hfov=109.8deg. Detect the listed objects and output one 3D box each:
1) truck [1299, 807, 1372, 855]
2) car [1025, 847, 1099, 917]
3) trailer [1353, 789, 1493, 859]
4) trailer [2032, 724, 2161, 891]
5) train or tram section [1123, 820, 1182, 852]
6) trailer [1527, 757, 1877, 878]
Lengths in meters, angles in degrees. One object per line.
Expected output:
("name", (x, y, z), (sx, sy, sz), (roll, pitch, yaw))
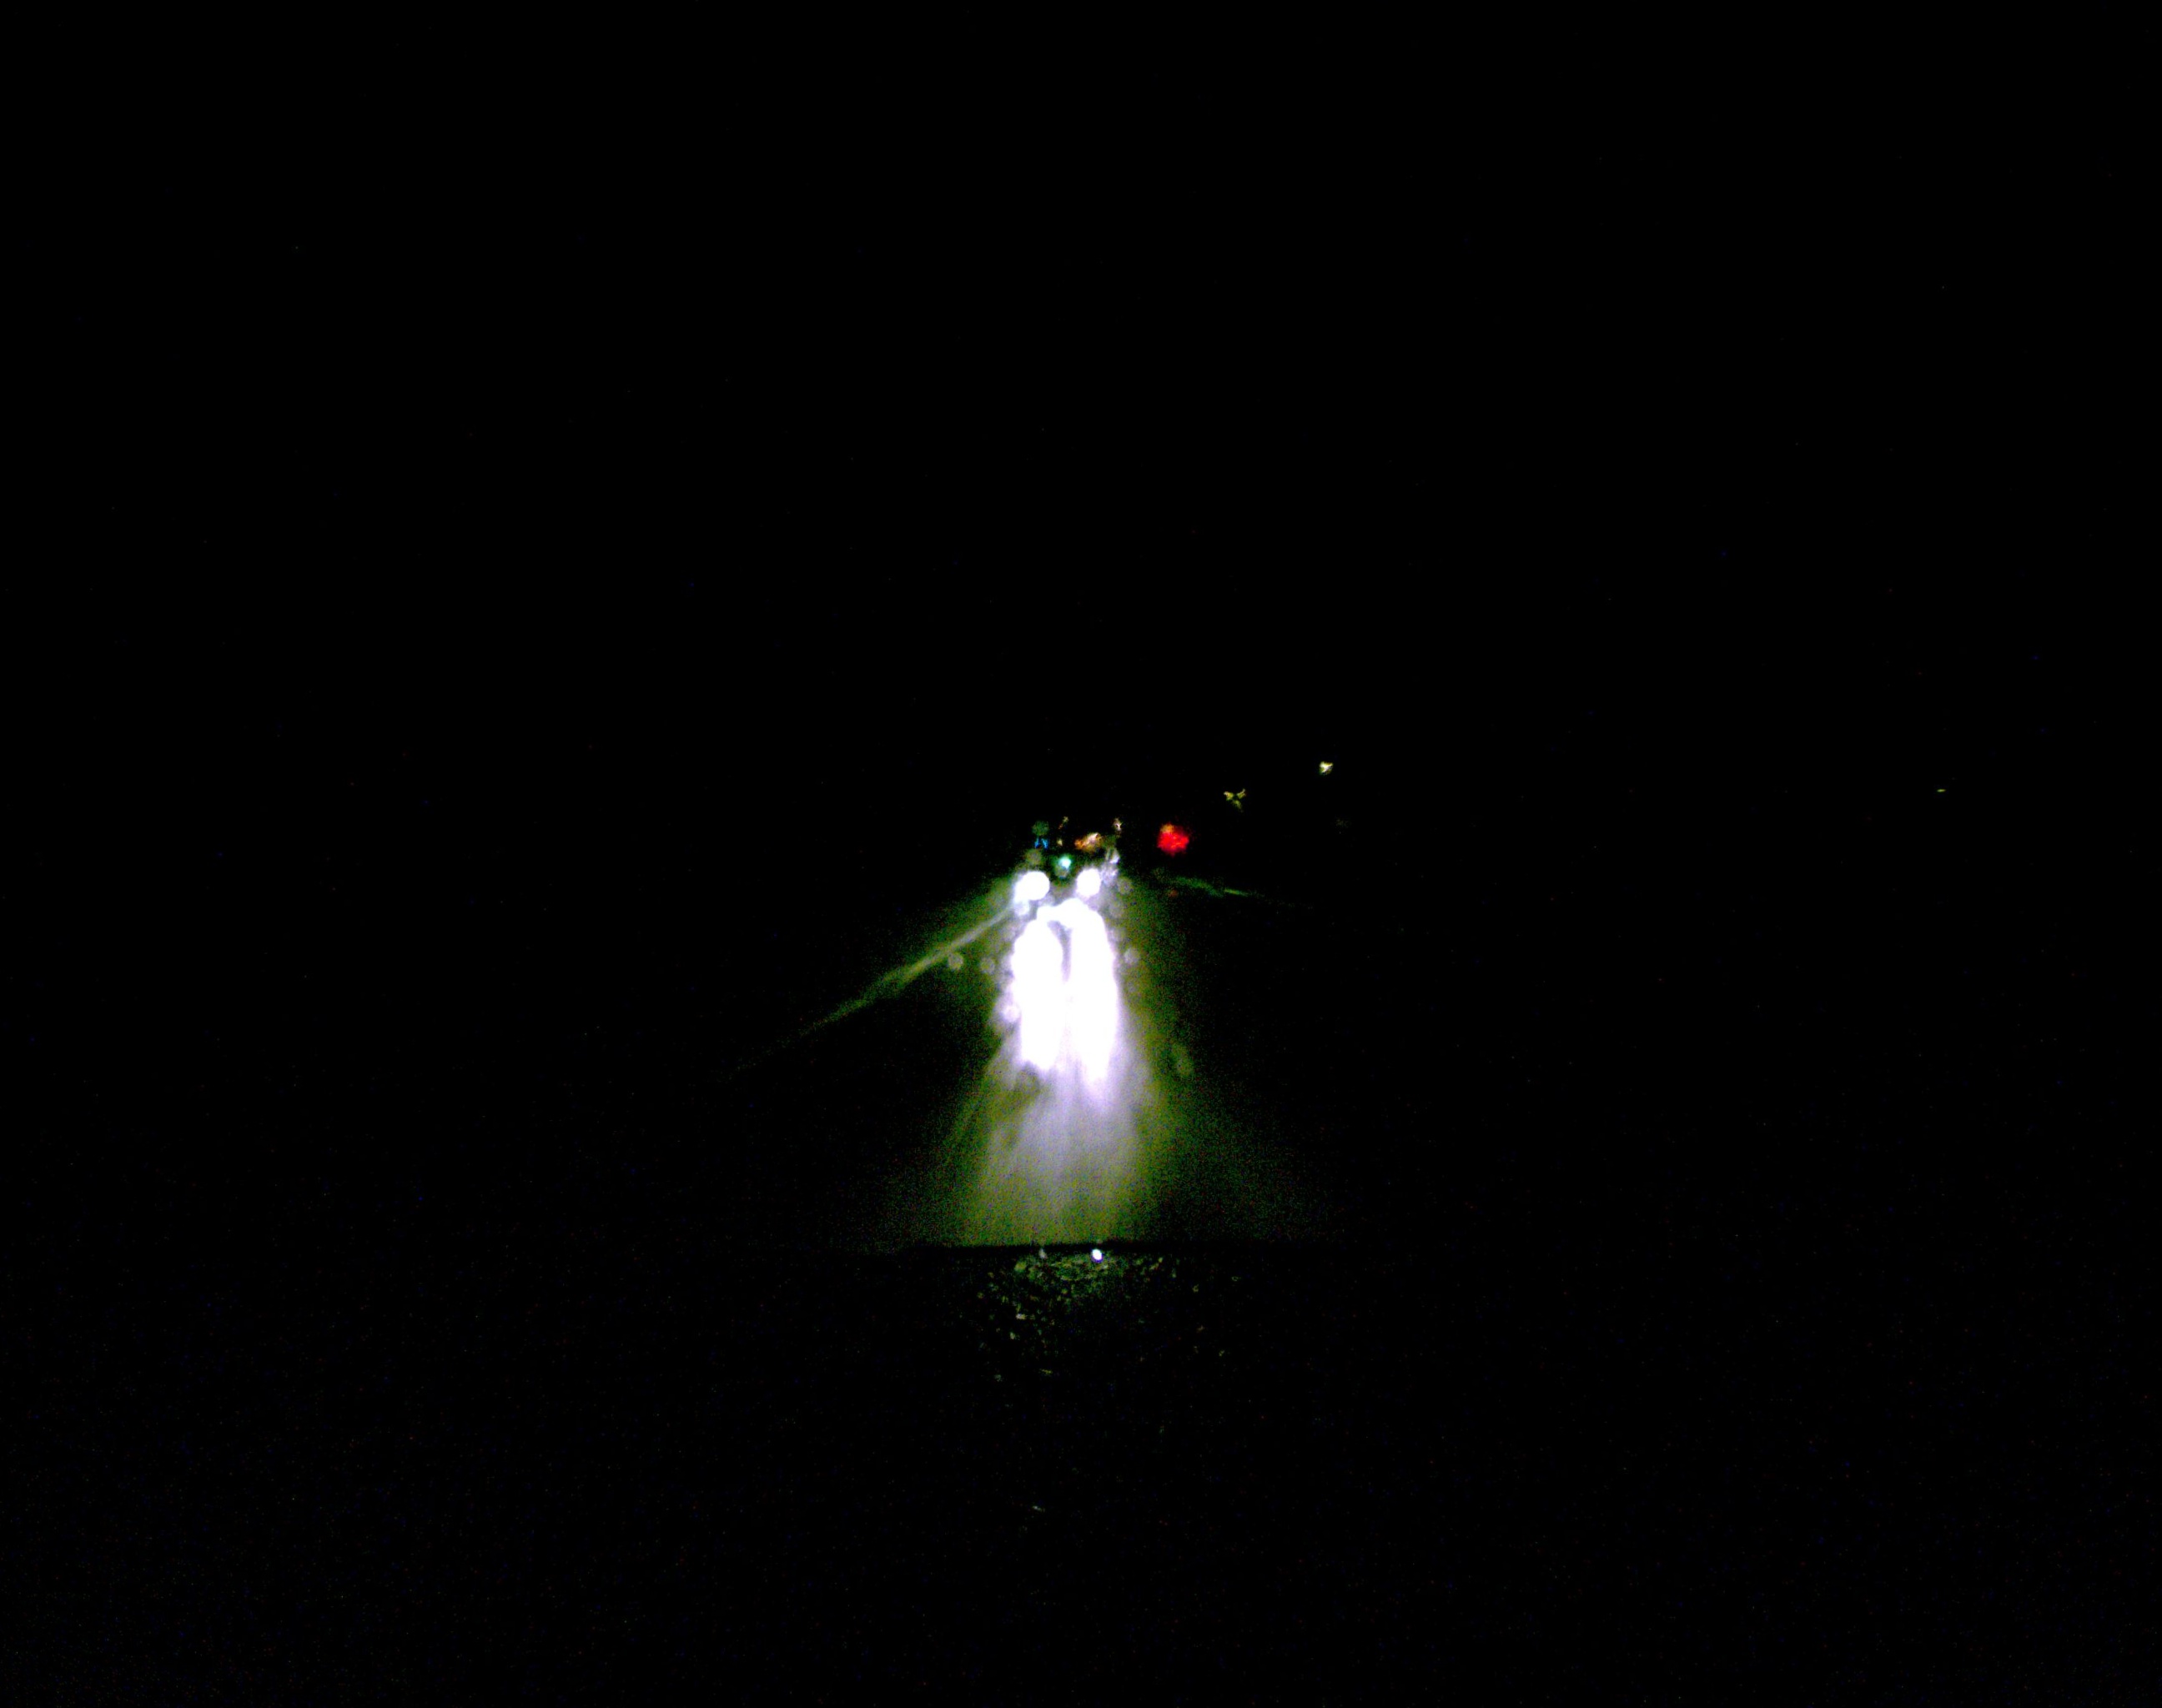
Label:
("truck", (27.068, -2.391, 81.510), (3.449, 4.584, 10.207), (-5, 1, -4))
("car", (-0.611, 0.721, 21.582), (1.791, 1.684, 4.217), (-3, 0, -3))
("trailer", (28.366, -2.372, 64.435), (3.982, 4.984, 14.827), (-5, 1, -4))
("trailer", (31.908, -1.364, 16.480), (3.982, 4.584, 14.239), (-5, 1, -4))
("train or tram section", (9.891, -2.579, 112.443), (2.704, 3.793, 37.125), (-5, 1, -3))
("trailer", (29.641, -1.612, 38.381), (3.982, 4.584, 15.506), (-5, 1, -4))
